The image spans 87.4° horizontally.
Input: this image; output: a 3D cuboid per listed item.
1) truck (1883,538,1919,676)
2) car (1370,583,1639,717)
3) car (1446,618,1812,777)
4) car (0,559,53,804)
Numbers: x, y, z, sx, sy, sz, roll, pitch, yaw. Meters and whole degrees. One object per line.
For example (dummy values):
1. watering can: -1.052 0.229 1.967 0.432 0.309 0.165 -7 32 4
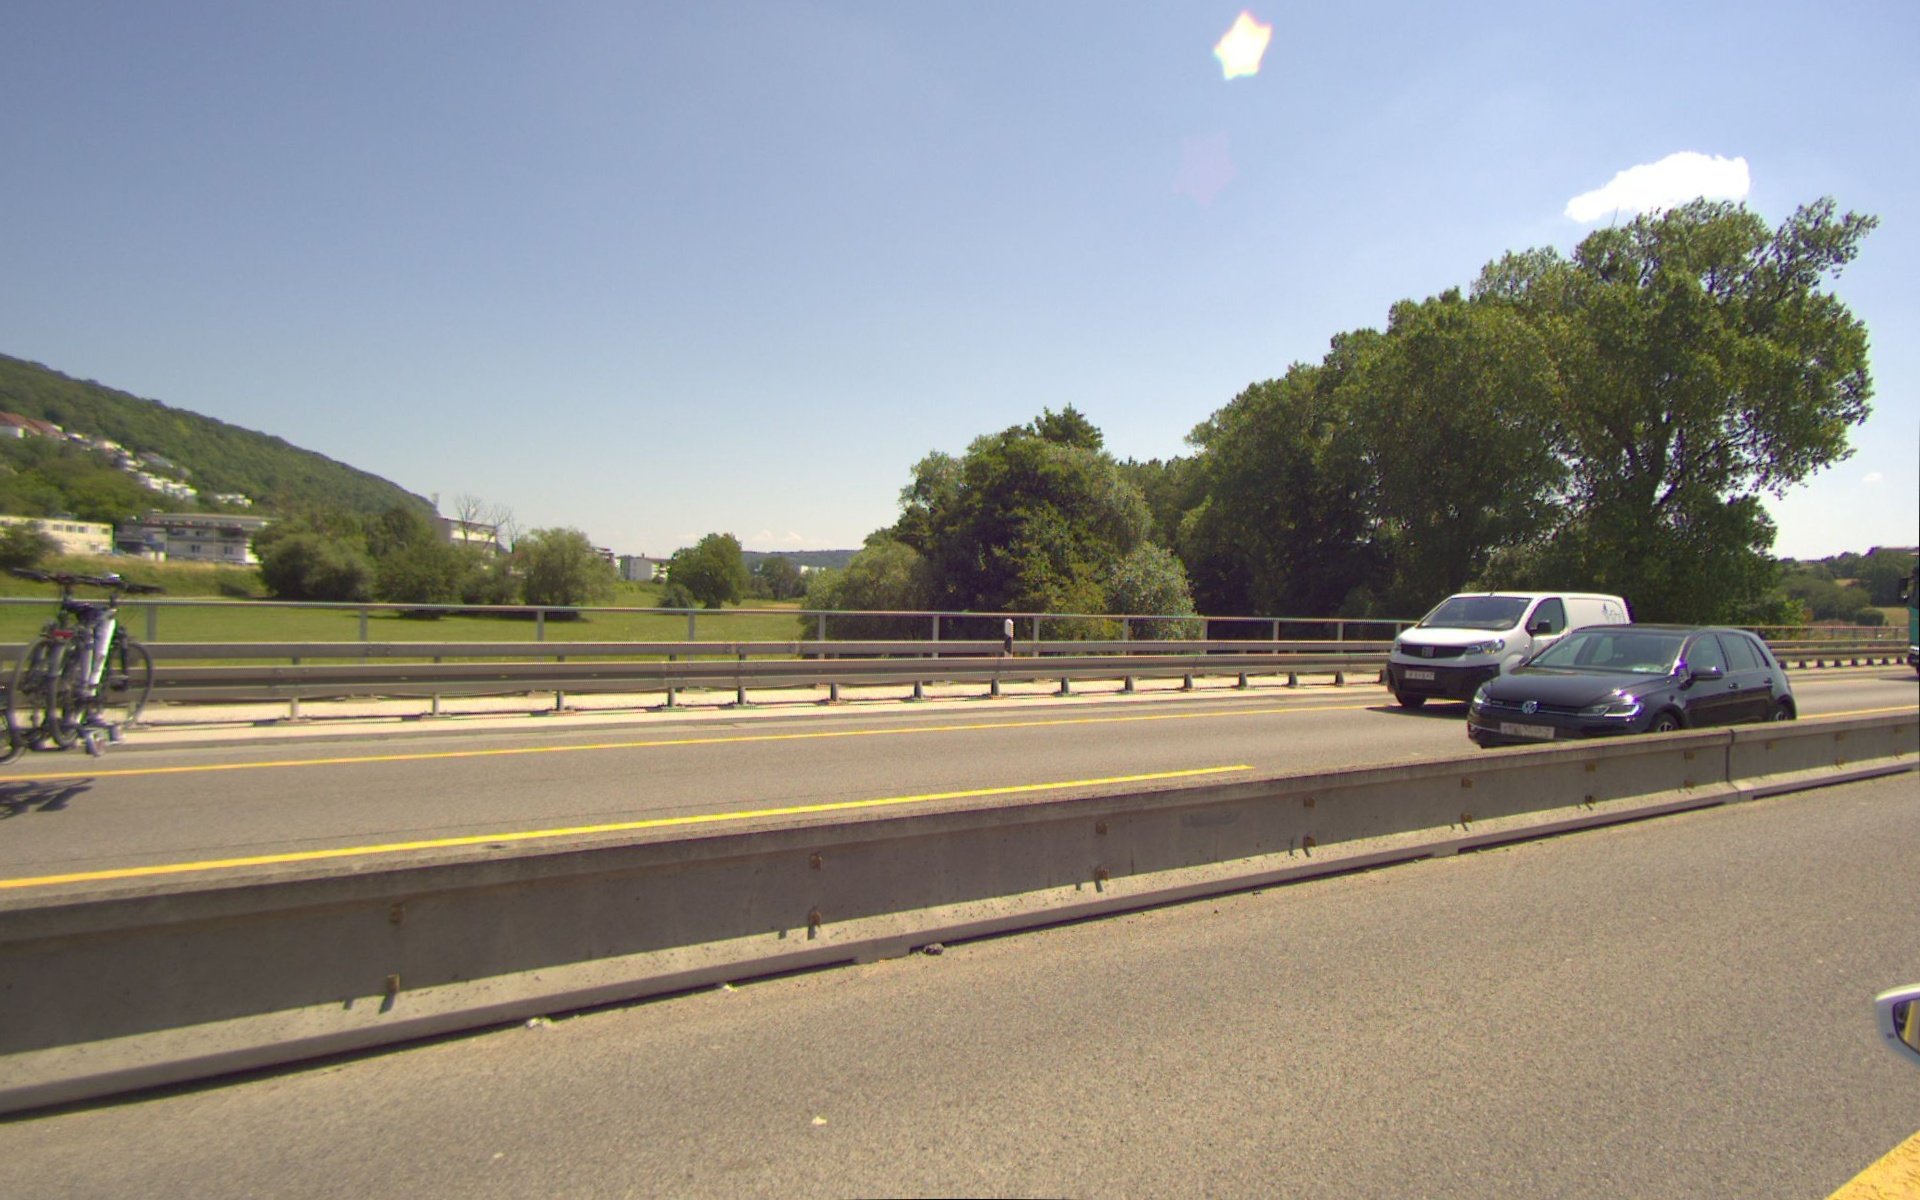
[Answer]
1. truck: 28.790 0.234 28.241 5.313 3.771 2.783 1 -2 -31
2. car: 8.862 0.759 16.235 4.578 1.892 1.849 1 -1 -32
3. car: 7.207 0.916 10.733 4.108 1.410 1.670 1 -2 -31
4. car: -8.082 0.501 5.772 3.956 1.590 1.803 1 -1 -32
